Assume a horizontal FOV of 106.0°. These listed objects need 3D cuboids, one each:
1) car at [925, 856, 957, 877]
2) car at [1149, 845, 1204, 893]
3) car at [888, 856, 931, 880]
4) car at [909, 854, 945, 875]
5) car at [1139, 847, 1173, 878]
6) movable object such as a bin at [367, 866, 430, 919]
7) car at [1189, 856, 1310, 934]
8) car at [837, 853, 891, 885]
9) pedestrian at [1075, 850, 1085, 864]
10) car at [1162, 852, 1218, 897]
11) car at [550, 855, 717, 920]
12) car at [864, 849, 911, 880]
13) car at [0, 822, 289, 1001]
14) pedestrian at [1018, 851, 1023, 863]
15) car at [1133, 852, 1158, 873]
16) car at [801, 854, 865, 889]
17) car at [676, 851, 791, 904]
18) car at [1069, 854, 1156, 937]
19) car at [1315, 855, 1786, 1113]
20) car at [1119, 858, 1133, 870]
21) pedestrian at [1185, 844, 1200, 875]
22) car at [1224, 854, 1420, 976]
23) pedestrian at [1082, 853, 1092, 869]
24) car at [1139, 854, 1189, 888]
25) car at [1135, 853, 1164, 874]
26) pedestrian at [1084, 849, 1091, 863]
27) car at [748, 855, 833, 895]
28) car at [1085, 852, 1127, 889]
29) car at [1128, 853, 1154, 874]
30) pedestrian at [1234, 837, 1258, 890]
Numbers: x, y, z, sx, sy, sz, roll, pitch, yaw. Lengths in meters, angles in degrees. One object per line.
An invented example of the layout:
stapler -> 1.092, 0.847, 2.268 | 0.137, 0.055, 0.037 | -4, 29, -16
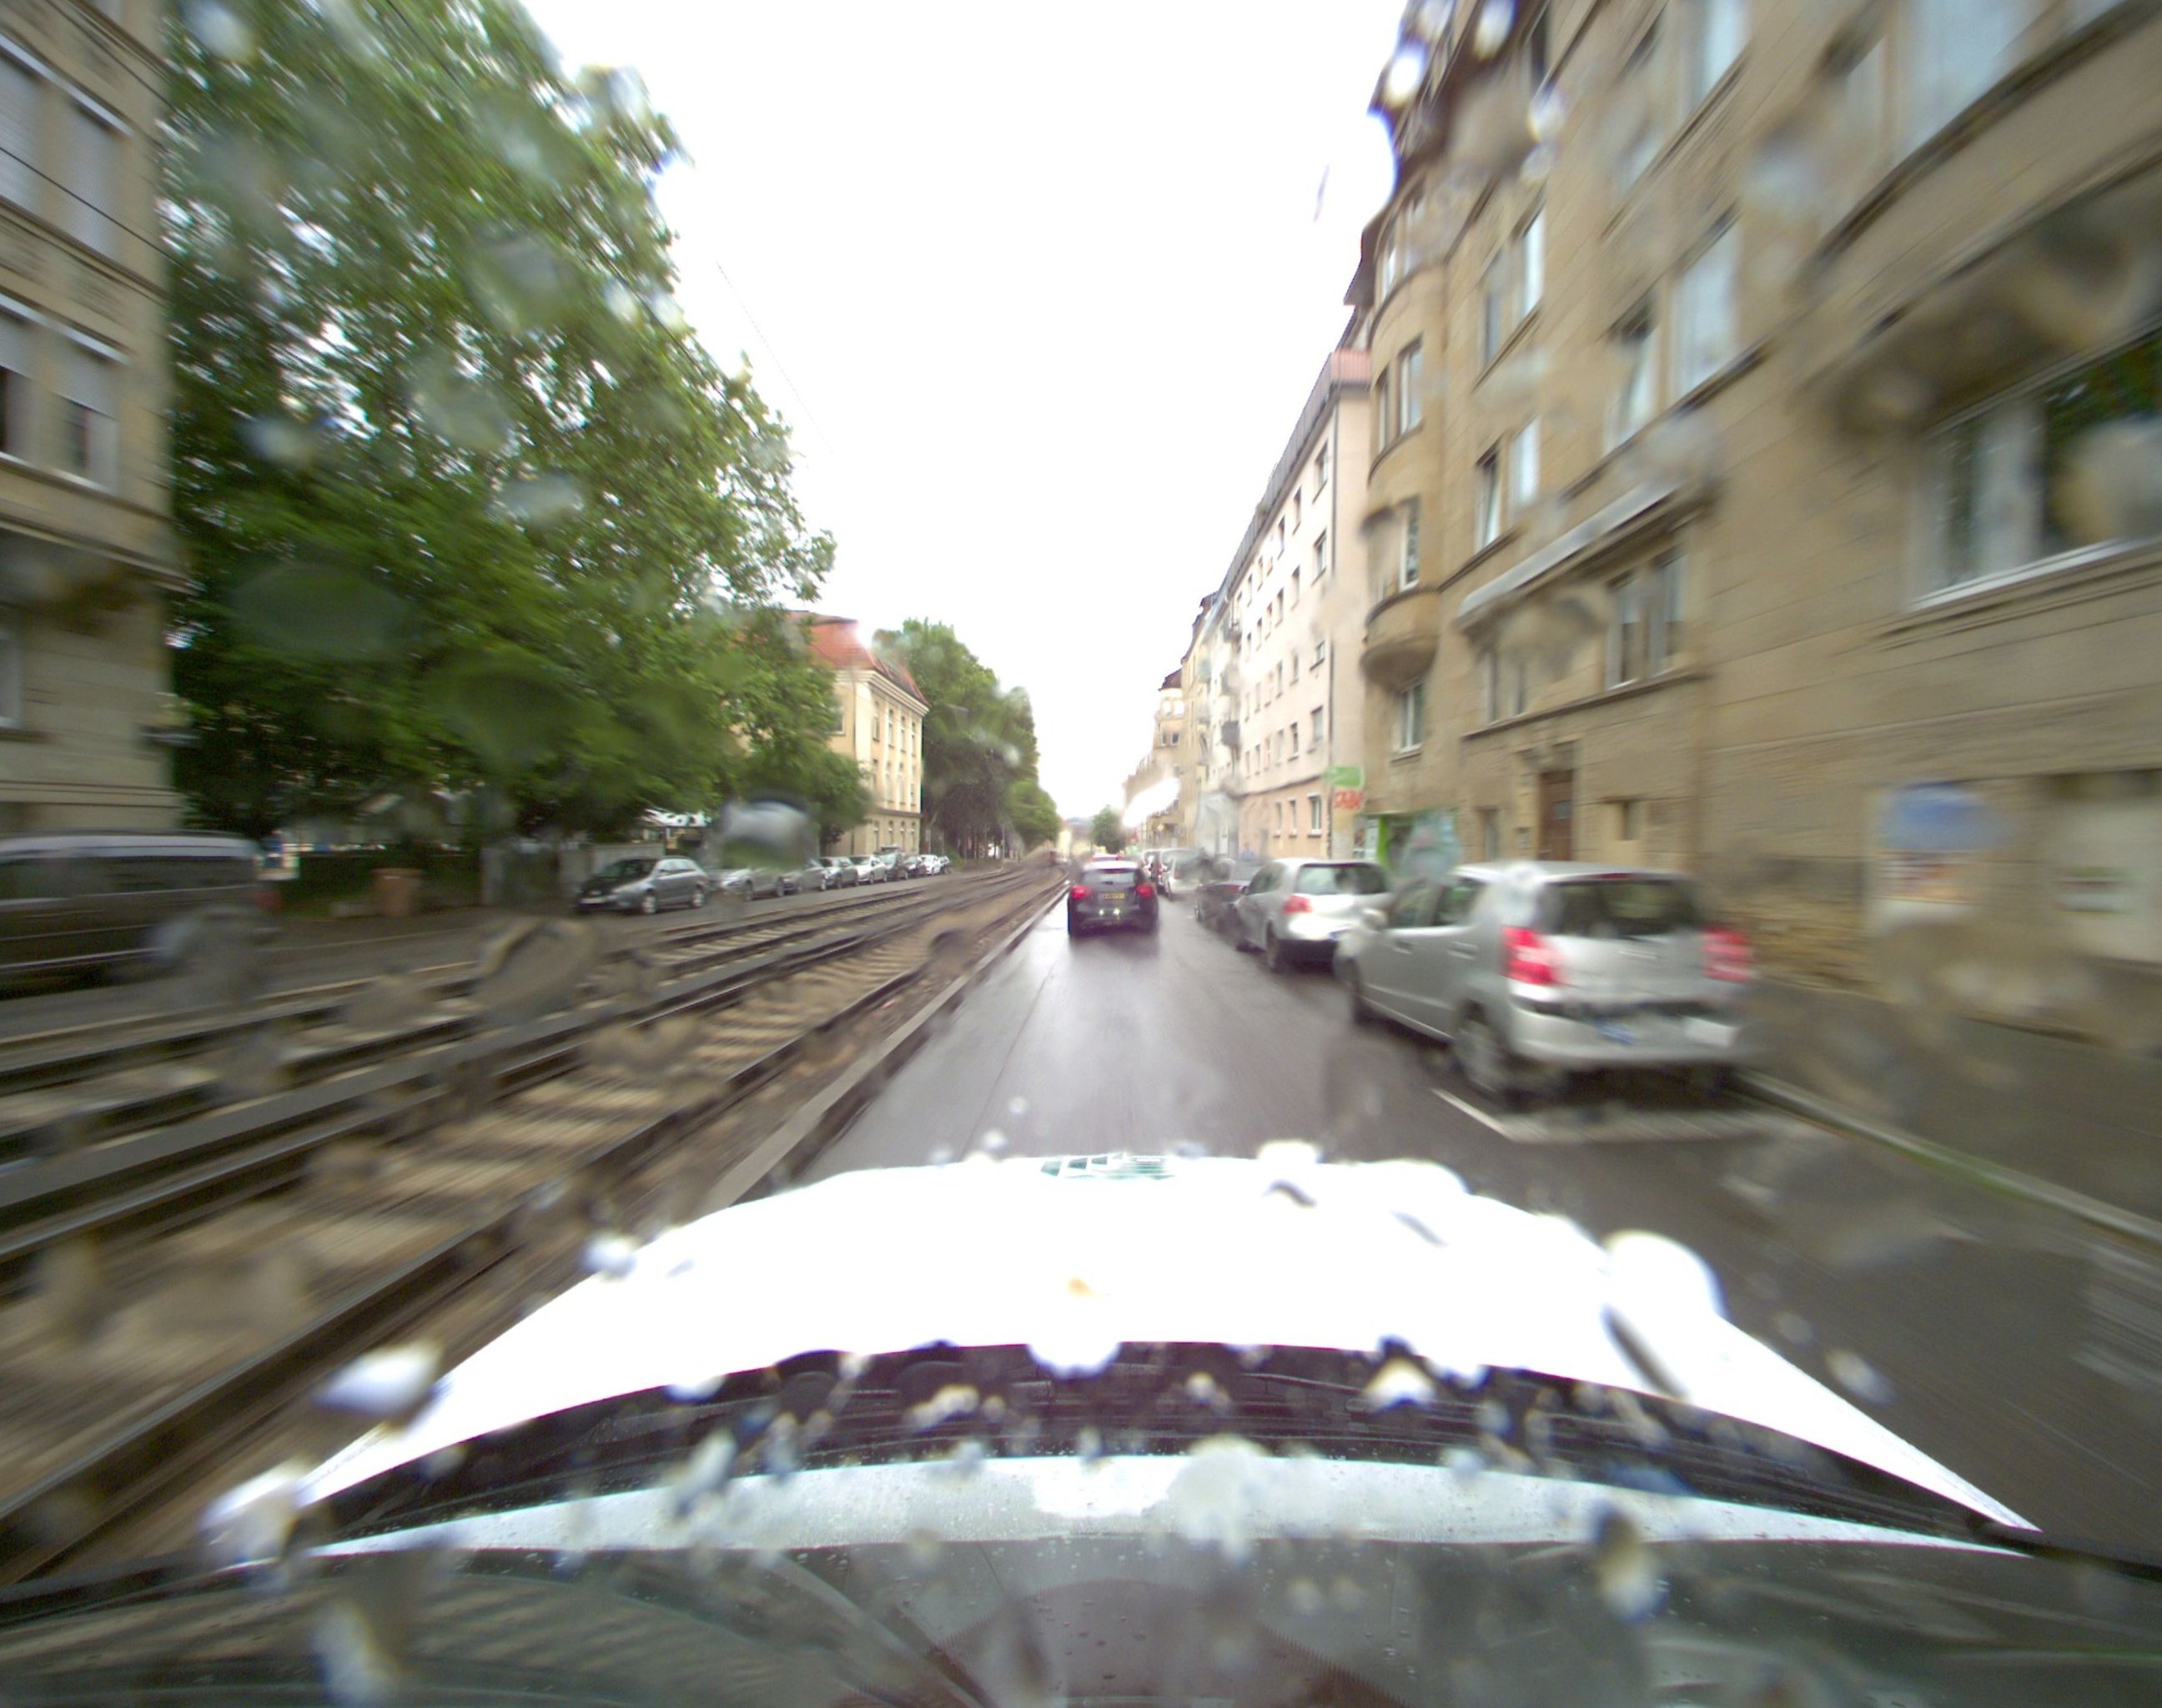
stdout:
car -> -10.508, 0.909, 61.234 | 1.608, 1.429, 3.853 | -1, 0, 1
car -> 3.765, 0.556, 32.732 | 1.784, 1.765, 4.213 | -1, 0, 1
car -> -10.895, 0.883, 52.035 | 1.668, 1.413, 4.013 | -2, 0, 3
car -> -10.653, 0.706, 56.528 | 1.494, 1.391, 3.990 | -2, 0, 3
car -> 4.298, 0.478, 47.471 | 1.820, 1.750, 4.471 | 0, 0, 3
movable object such as a bin -> -15.114, 0.844, 18.046 | 0.714, 1.120, 0.774 | 0, 0, 3
car -> 3.409, 0.762, 17.250 | 1.664, 1.410, 4.311 | -1, 0, 0
car -> -11.029, 0.741, 41.713 | 1.534, 1.505, 4.155 | -2, 0, 1
pedestrian -> -0.119, 0.343, 98.652 | 1.050, 1.718, 0.905 | 0, 0, 3
car -> 3.739, 0.680, 28.346 | 1.564, 1.462, 3.601 | -1, 0, 2
car -> -11.519, 0.797, 21.397 | 1.843, 1.464, 4.549 | -2, 0, 0
car -> -10.966, 0.593, 46.348 | 1.571, 1.643, 4.072 | -2, 0, 1
car -> -12.037, 0.611, 8.963 | 1.794, 1.846, 4.820 | -1, 0, 2
pedestrian -> -8.970, 0.431, 120.845 | 0.532, 1.754, 0.607 | 2, -1, 2
car -> 4.759, 0.621, 60.529 | 1.687, 1.529, 4.002 | 0, 0, 2
car -> -11.111, 0.757, 36.732 | 1.534, 1.413, 3.953 | -2, 0, 1
car -> -11.339, 0.722, 26.978 | 1.748, 1.536, 4.543 | -2, 0, 1
car -> 0.615, 0.764, 16.610 | 1.574, 1.505, 3.575 | 0, 0, 1
car -> 3.206, 0.741, 6.473 | 1.585, 1.434, 3.683 | -1, 0, -1
car -> 6.390, 1.361, 114.947 | 1.820, 1.618, 3.866 | -2, 0, 2
pedestrian -> 6.736, 0.304, 49.323 | 0.743, 1.833, 1.039 | -3, 0, 3
car -> 3.237, 0.737, 11.733 | 1.662, 1.434, 3.956 | -1, 0, 0
pedestrian -> 0.716, 0.904, 103.099 | 1.135, 1.998, 1.171 | -2, 0, -2
car -> 3.796, 0.738, 37.791 | 1.865, 1.455, 4.903 | 0, 0, 1
car -> 4.615, 0.641, 55.466 | 1.711, 1.347, 4.462 | 1, 0, 1
pedestrian -> 0.833, 0.262, 99.024 | 0.803, 1.633, 0.892 | -2, 0, 2
car -> -11.273, 0.775, 31.943 | 1.748, 1.413, 4.154 | -2, 0, 1
car -> 1.118, 0.704, 36.308 | 1.778, 1.581, 4.001 | 0, 0, 2
car -> 4.884, 0.771, 66.360 | 1.760, 1.668, 4.331 | 1, 0, -1
pedestrian -> 5.593, 0.328, 27.654 | 0.605, 1.763, 0.688 | -2, 0, 1
